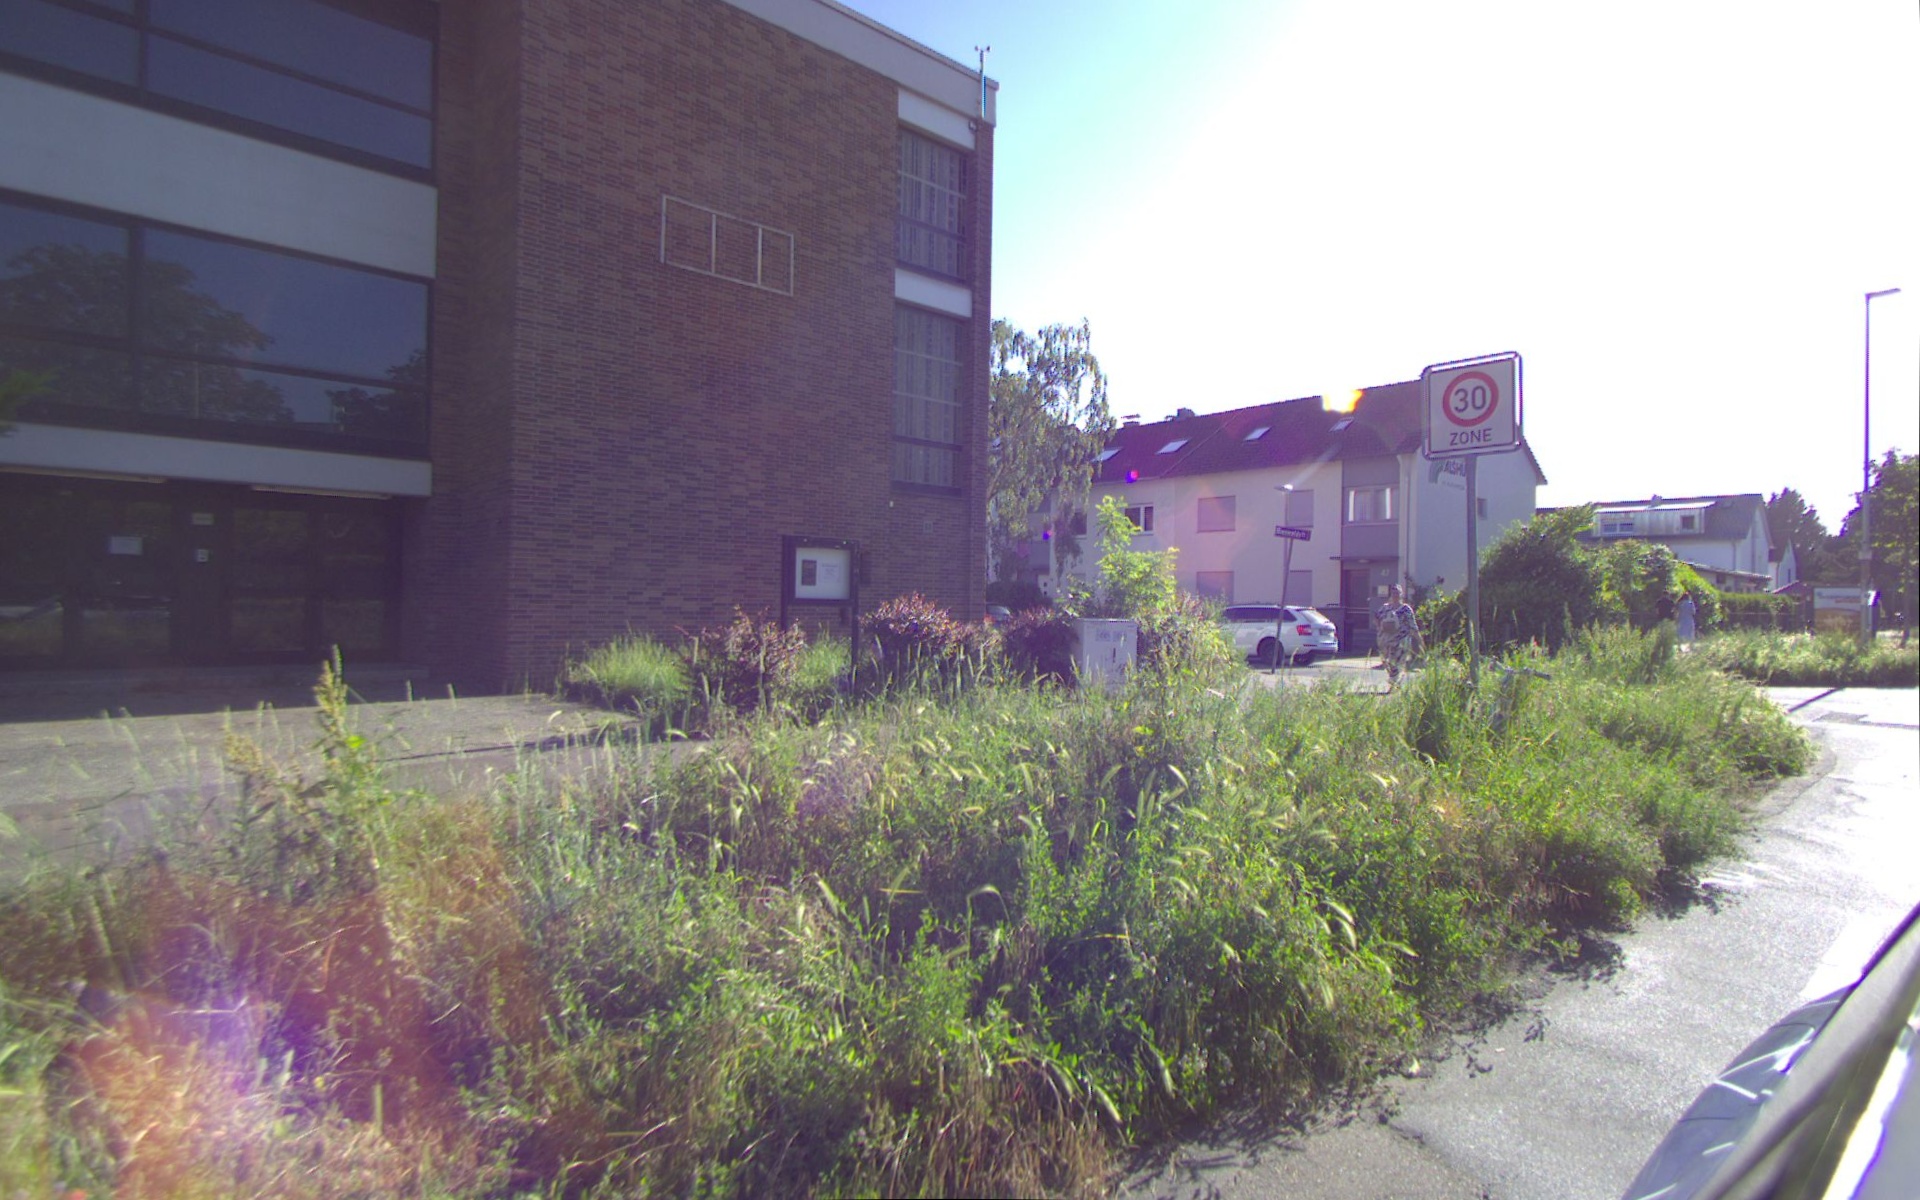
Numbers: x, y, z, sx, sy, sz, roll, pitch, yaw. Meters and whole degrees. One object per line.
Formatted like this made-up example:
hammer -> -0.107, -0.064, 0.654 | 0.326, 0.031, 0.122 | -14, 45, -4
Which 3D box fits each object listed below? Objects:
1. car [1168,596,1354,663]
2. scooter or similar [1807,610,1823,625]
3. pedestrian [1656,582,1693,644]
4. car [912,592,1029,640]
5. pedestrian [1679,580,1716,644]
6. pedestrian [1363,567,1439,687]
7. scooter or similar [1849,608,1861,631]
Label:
car -> 7.491, 0.693, 25.498 | 1.774, 1.522, 4.201 | 2, -1, -41
scooter or similar -> 43.824, 0.875, 51.863 | 1.207, 0.725, 0.450 | 0, 4, -43
pedestrian -> 20.316, 0.366, 28.770 | 0.626, 1.755, 0.608 | 0, -1, -25
car -> 0.286, 0.513, 34.098 | 1.774, 1.522, 3.949 | 2, -1, -41
pedestrian -> 20.569, 0.327, 28.217 | 0.647, 1.755, 0.557 | 0, -1, -25
pedestrian -> 7.001, 0.418, 16.087 | 0.899, 1.845, 0.725 | -1, -1, 44
scooter or similar -> 53.188, 1.170, 60.140 | 0.454, 1.312, 0.502 | 0, 1, -45
